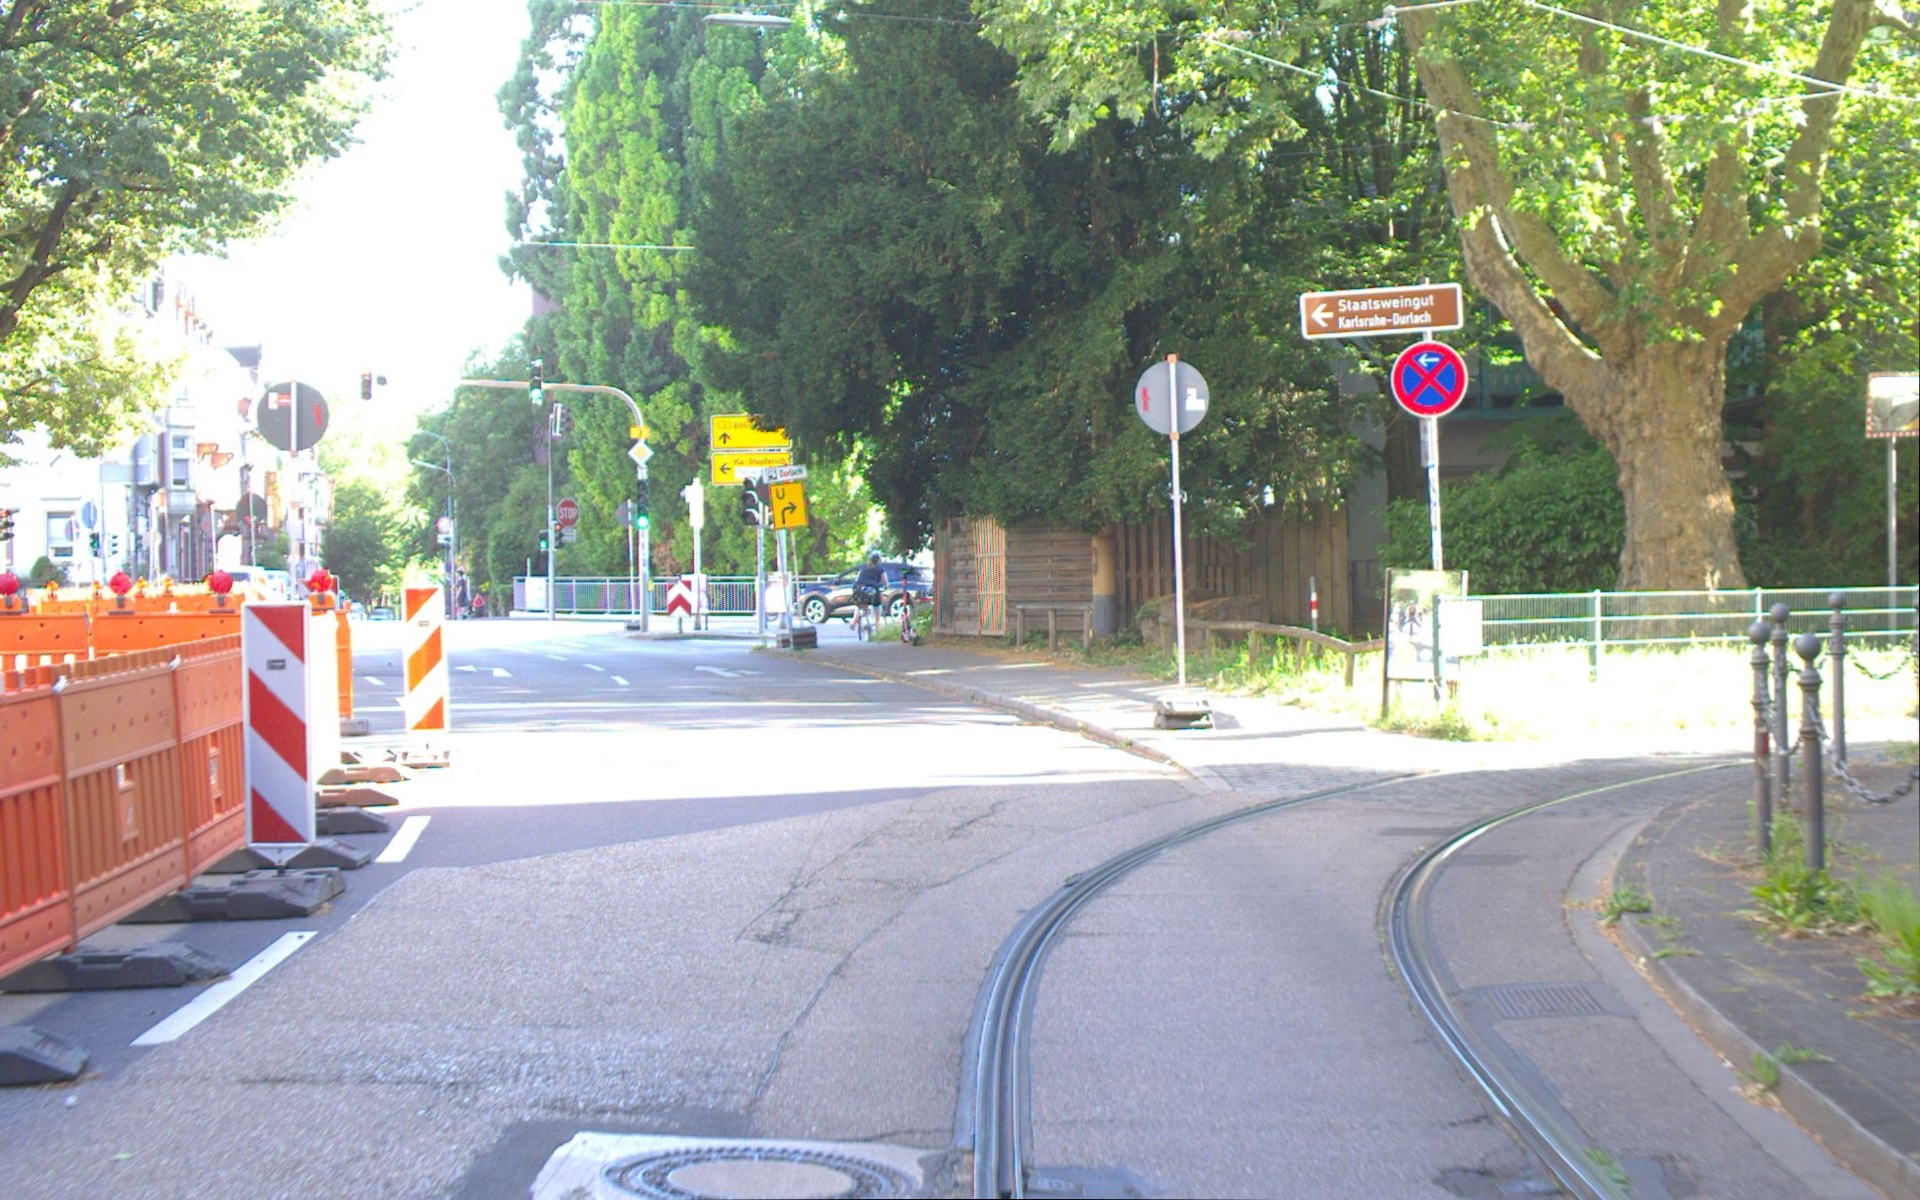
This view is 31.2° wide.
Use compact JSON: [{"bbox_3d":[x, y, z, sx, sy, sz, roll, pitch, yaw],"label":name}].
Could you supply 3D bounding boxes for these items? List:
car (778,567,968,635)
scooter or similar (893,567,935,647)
[{"bbox_3d":[-2.309,0.026,90.354,4.657,1.664,1.996,0,-2,34],"label":"car"},{"bbox_3d":[-0.722,0.104,53.511,0.438,1.198,1.259,-3,1,-8],"label":"scooter or similar"}]
